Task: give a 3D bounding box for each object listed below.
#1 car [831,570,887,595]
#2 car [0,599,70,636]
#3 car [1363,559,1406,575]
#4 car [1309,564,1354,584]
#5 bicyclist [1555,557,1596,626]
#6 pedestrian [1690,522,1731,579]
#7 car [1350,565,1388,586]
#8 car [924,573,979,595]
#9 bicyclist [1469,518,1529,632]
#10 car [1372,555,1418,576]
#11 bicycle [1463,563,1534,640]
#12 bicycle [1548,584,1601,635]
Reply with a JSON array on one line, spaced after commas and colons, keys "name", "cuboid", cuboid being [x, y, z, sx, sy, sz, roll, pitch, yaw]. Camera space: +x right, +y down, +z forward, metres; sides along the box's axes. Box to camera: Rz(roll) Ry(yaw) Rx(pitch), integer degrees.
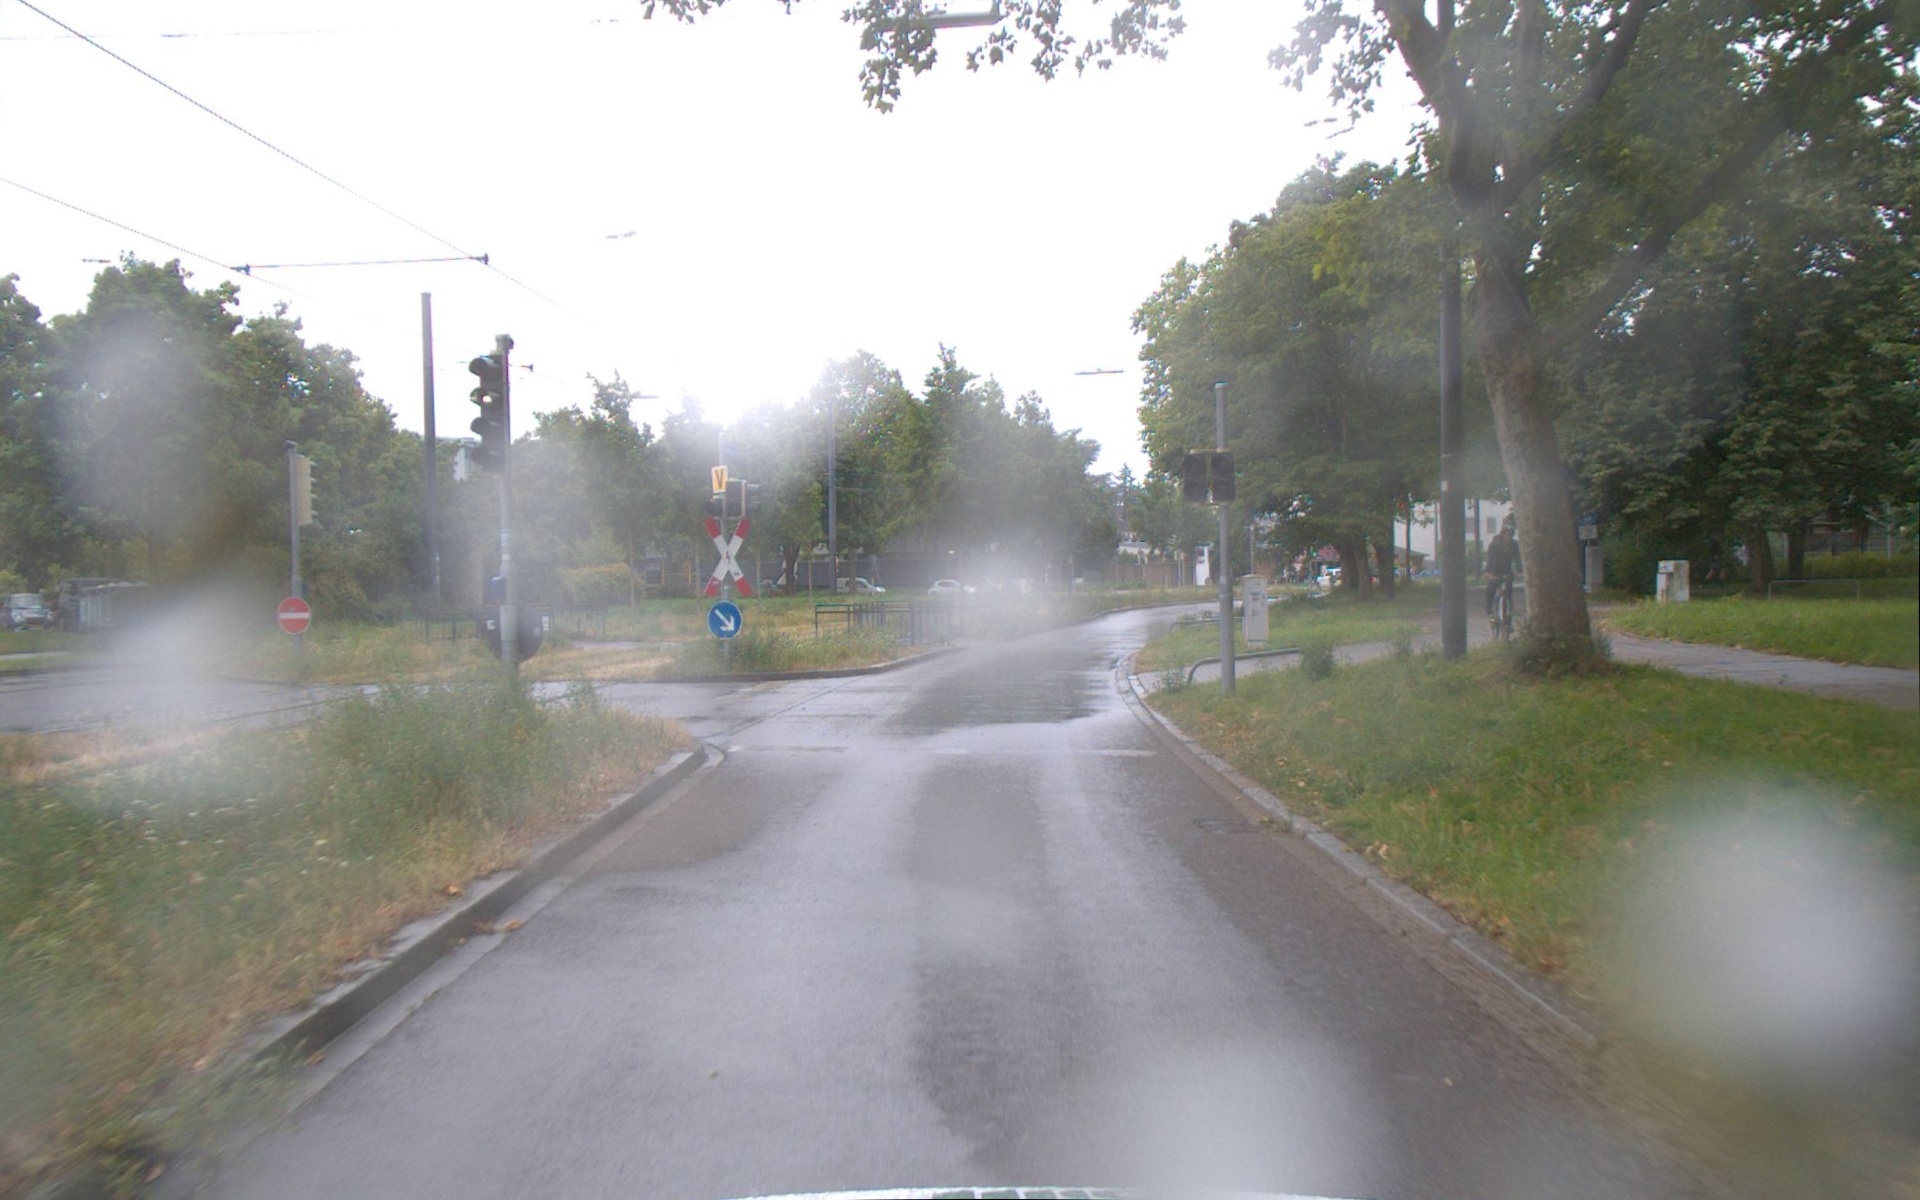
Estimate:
[{"name": "car", "cuboid": [-8.098, -1.412, 132.295, 4.121, 1.827, 1.653, -1, 2, 18]}, {"name": "car", "cuboid": [-34.656, 0.656, 61.781, 1.652, 1.271, 3.684, -2, 1, -42]}, {"name": "car", "cuboid": [41.861, -3.269, 163.067, 3.680, 1.467, 1.759, -1, 1, 30]}, {"name": "car", "cuboid": [27.981, -1.948, 124.618, 1.509, 1.444, 3.981, -2, 1, -17]}, {"name": "bicyclist", "cuboid": [9.720, -0.133, 26.123, 0.476, 1.056, 0.592, -1, 2, 8]}, {"name": "pedestrian", "cuboid": [23.319, -1.537, 51.391, 1.013, 1.724, 0.852, -1, 1, 33]}, {"name": "car", "cuboid": [28.420, -1.710, 115.042, 1.649, 1.445, 3.816, -2, 1, 0]}, {"name": "car", "cuboid": [-0.696, -1.254, 129.790, 3.979, 1.525, 1.653, -2, 0, 16]}, {"name": "bicyclist", "cuboid": [8.563, -0.401, 26.318, 0.696, 1.751, 0.958, -2, 1, 7]}, {"name": "car", "cuboid": [43.645, -3.458, 165.998, 4.062, 1.892, 1.668, -2, 0, 34]}, {"name": "bicycle", "cuboid": [8.582, 0.001, 26.421, 0.696, 1.162, 1.974, -2, 1, 7]}, {"name": "bicycle", "cuboid": [9.741, 0.139, 26.251, 0.476, 0.721, 1.459, -1, 2, 8]}]
